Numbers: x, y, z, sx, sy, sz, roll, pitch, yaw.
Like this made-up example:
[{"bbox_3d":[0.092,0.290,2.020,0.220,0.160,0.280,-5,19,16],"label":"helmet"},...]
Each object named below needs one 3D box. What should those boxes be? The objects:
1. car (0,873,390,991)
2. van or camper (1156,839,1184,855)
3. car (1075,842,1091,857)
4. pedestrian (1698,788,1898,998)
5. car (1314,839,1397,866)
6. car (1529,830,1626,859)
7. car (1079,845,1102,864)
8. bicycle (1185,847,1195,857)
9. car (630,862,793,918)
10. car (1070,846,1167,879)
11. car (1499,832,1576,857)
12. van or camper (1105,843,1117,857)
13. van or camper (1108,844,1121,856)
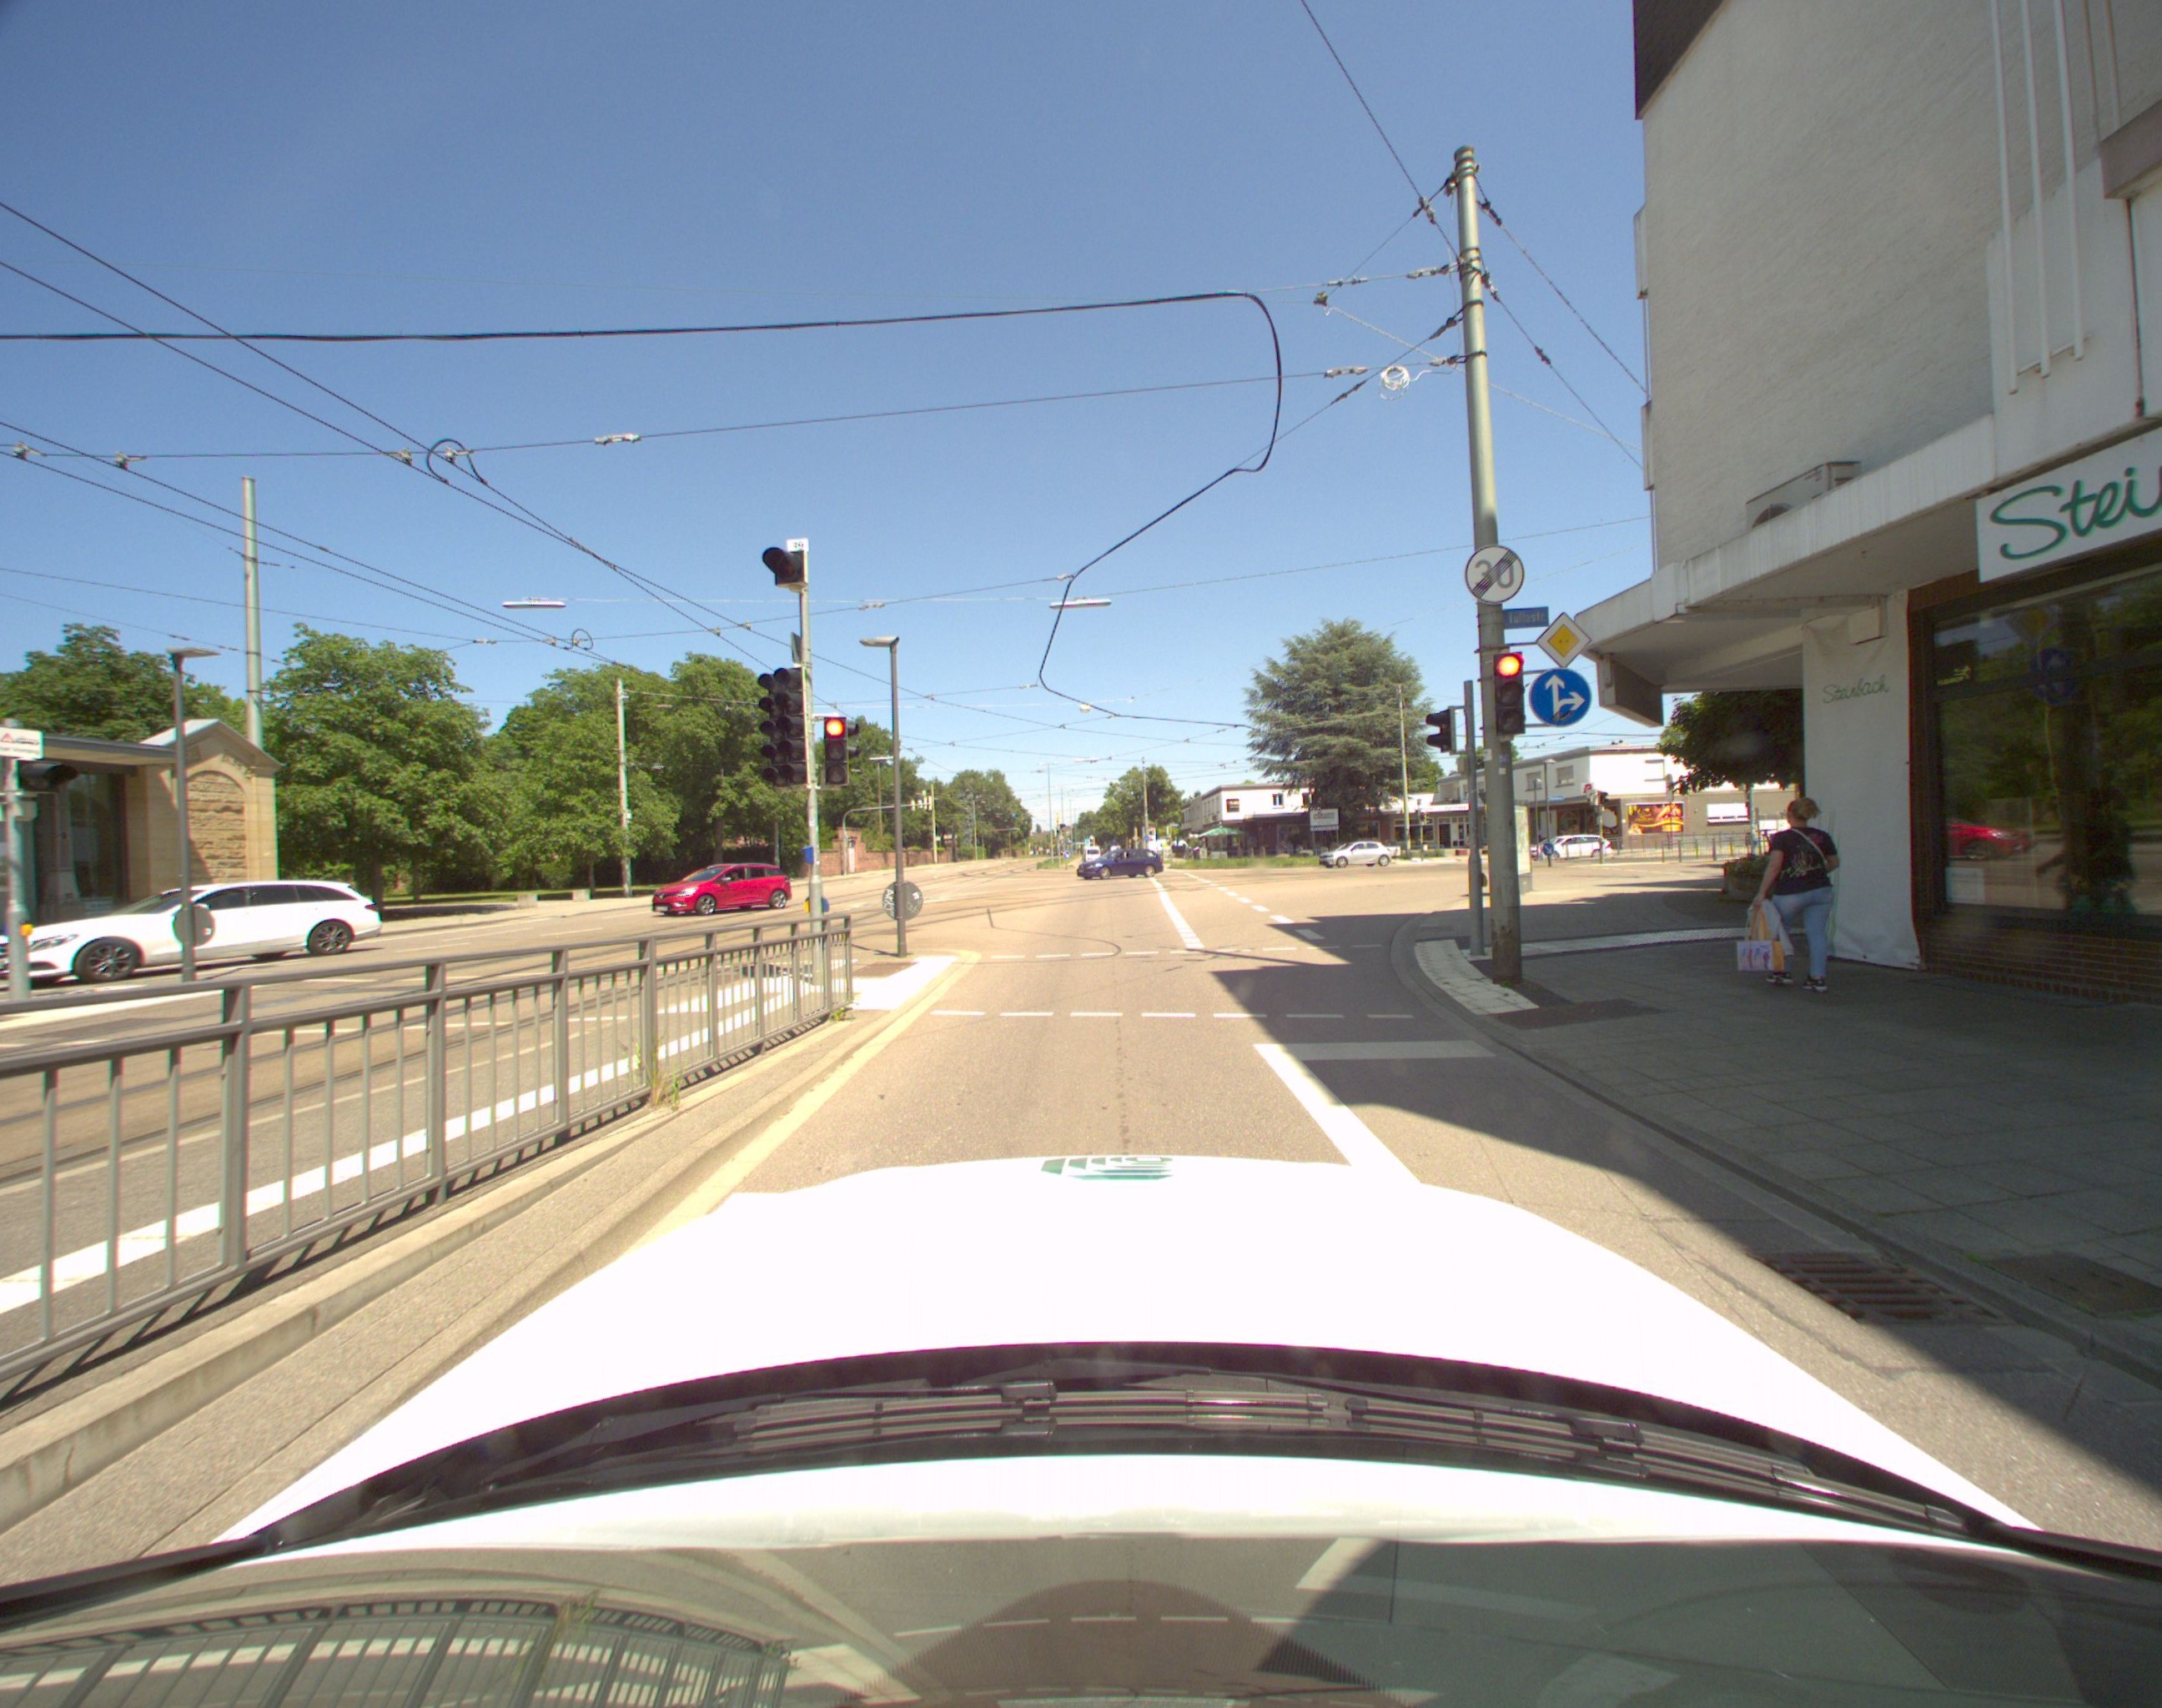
[{"bbox_3d":[-15.078,1.202,13.941,1.804,1.468,4.643,-4,0,16],"label":"car"},{"bbox_3d":[15.635,-1.219,143.276,4.742,2.671,2.135,-2,0,-1],"label":"van or camper"},{"bbox_3d":[0.282,-0.632,111.318,1.986,2.014,4.001,0,-1,2],"label":"car"},{"bbox_3d":[5.960,0.308,6.835,0.822,1.583,0.828,-6,0,7],"label":"pedestrian"},{"bbox_3d":[15.491,-0.086,46.018,4.037,1.362,1.818,-2,0,-9],"label":"car"},{"bbox_3d":[28.528,-0.536,46.905,4.472,1.489,1.823,-2,0,-2],"label":"car"},{"bbox_3d":[0.948,0.079,83.683,1.990,1.859,3.993,-2,0,-5],"label":"car"},{"bbox_3d":[11.308,-0.177,84.427,1.028,1.014,2.643,-1,0,8],"label":"bicycle"},{"bbox_3d":[-10.962,1.030,24.484,1.801,1.395,4.201,-2,0,28],"label":"car"},{"bbox_3d":[1.890,0.394,40.402,4.490,1.442,1.845,-2,0,-29],"label":"car"},{"bbox_3d":[28.133,-0.573,50.226,3.818,1.351,1.641,-2,0,-1],"label":"car"},{"bbox_3d":[5.591,-0.798,152.966,1.988,2.464,3.998,-2,0,-2],"label":"van or camper"},{"bbox_3d":[5.366,-0.616,130.485,1.915,1.772,4.002,-2,0,2],"label":"van or camper"}]
